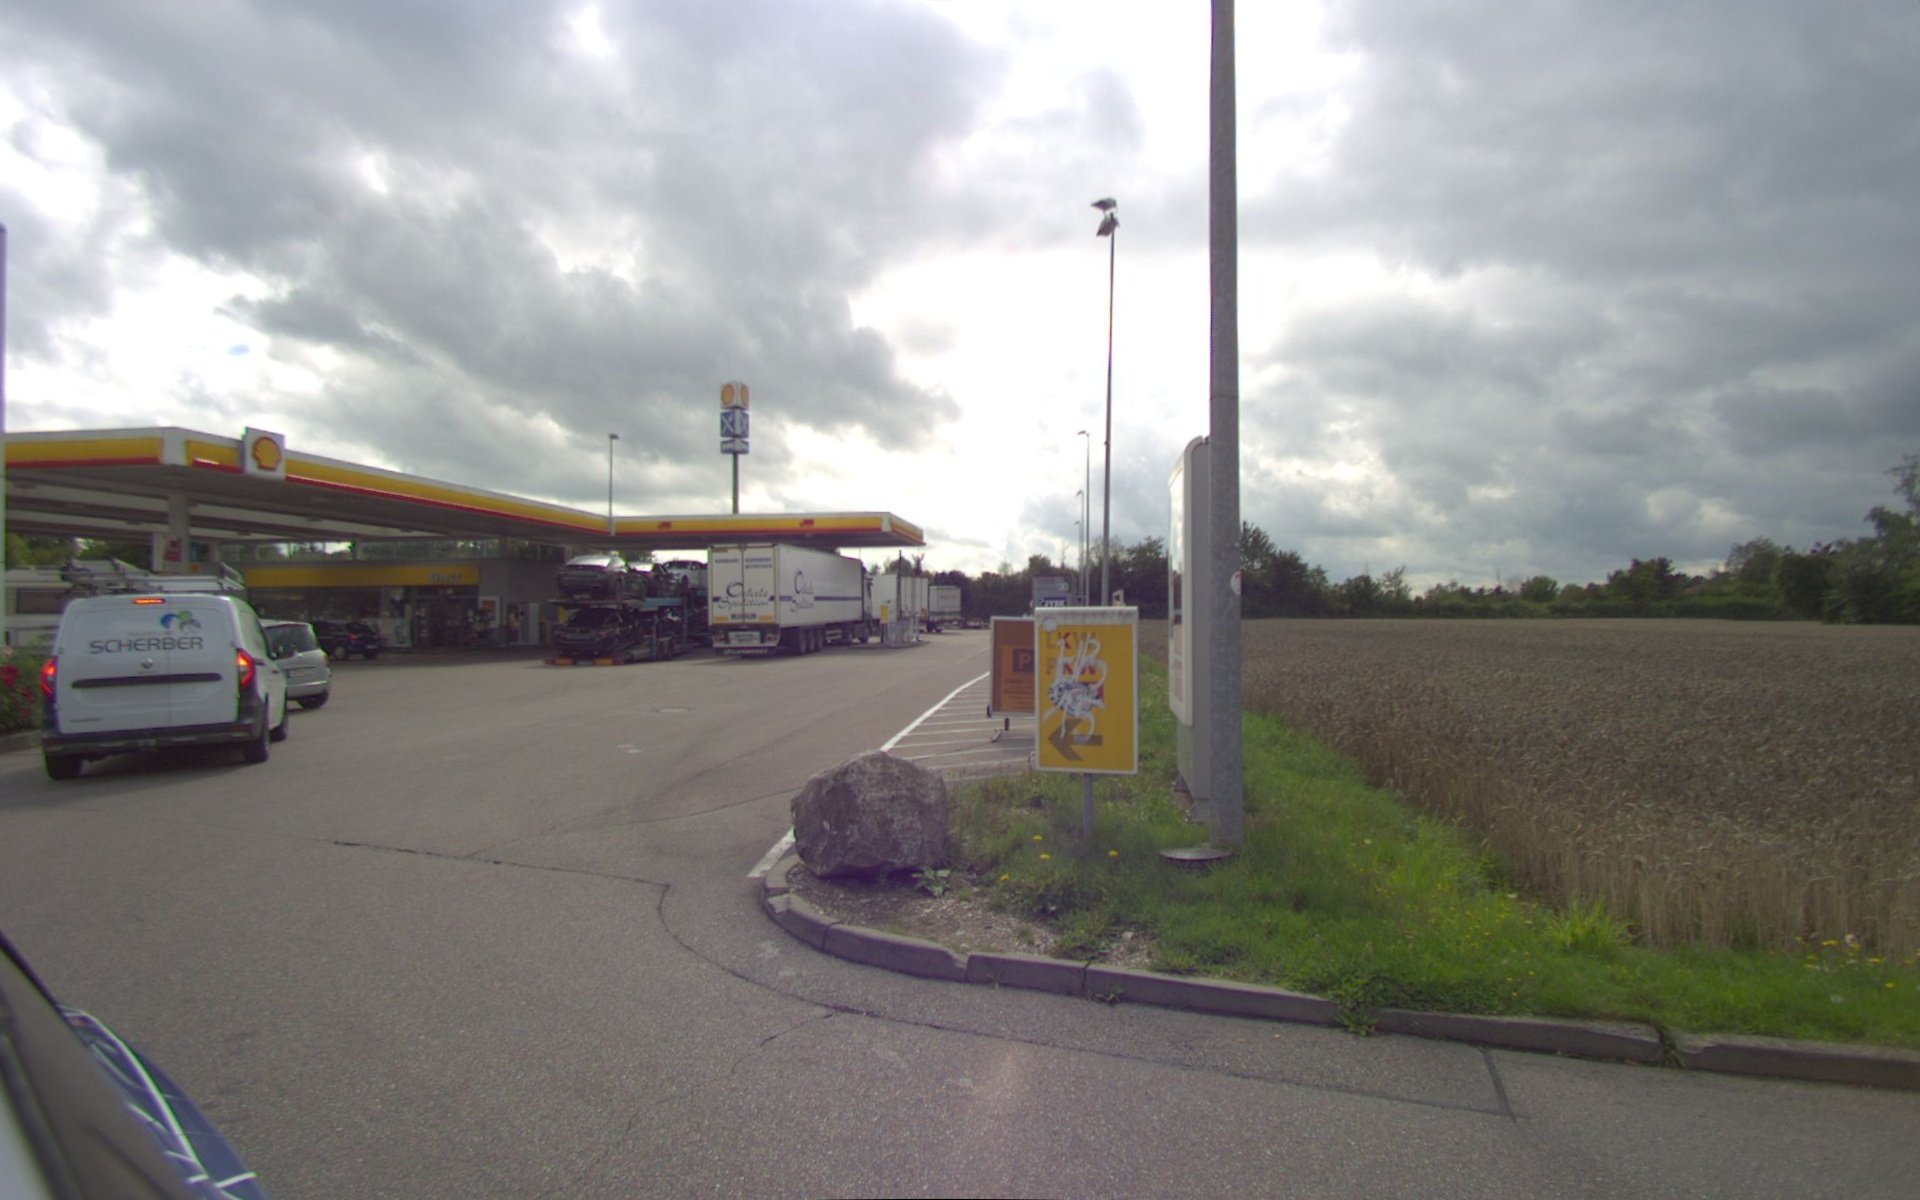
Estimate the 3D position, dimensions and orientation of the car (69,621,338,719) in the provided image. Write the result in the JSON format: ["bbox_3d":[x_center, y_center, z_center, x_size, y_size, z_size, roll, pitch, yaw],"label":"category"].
[{"bbox_3d":[-12.856,1.171,17.285,3.679,1.559,1.575,-1,-1,9],"label":"car"}]

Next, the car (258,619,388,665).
[{"bbox_3d":[-23.294,1.521,37.073,3.710,1.613,1.715,-1,-1,2],"label":"car"}]

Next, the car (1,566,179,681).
[{"bbox_3d":[-23.726,0.626,27.915,2.186,2.808,5.827,0,-1,-25],"label":"car"}]

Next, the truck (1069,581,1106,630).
[{"bbox_3d":[11.374,0.536,89.215,2.792,3.923,15.416,0,-1,9],"label":"truck"}]

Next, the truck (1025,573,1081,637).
[{"bbox_3d":[6.642,0.434,70.123,2.792,3.923,15.416,0,-1,9],"label":"truck"}]

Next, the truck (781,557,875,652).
[{"bbox_3d":[-6.053,0.263,47.493,2.680,4.055,7.154,-1,-1,7],"label":"truck"}]

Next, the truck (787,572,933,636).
[{"bbox_3d":[-7.464,0.359,72.008,2.915,4.144,14.779,1,-1,-38],"label":"truck"}]

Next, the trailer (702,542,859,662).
[{"bbox_3d":[-6.802,0.172,41.056,2.680,4.055,12.820,-1,-1,7],"label":"trailer"}]

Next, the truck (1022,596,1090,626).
[{"bbox_3d":[11.992,1.401,126.270,7.998,3.684,2.805,0,-1,20],"label":"truck"}]

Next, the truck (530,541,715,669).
[{"bbox_3d":[-12.111,0.254,38.104,2.713,3.953,13.260,0,-1,-1],"label":"truck"}]

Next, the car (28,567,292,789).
[{"bbox_3d":[-8.716,0.761,11.381,1.766,2.027,3.893,0,-2,-30],"label":"car"}]

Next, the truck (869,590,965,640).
[{"bbox_3d":[-4.037,1.389,90.599,2.944,4.142,11.605,0,-1,-34],"label":"truck"}]
